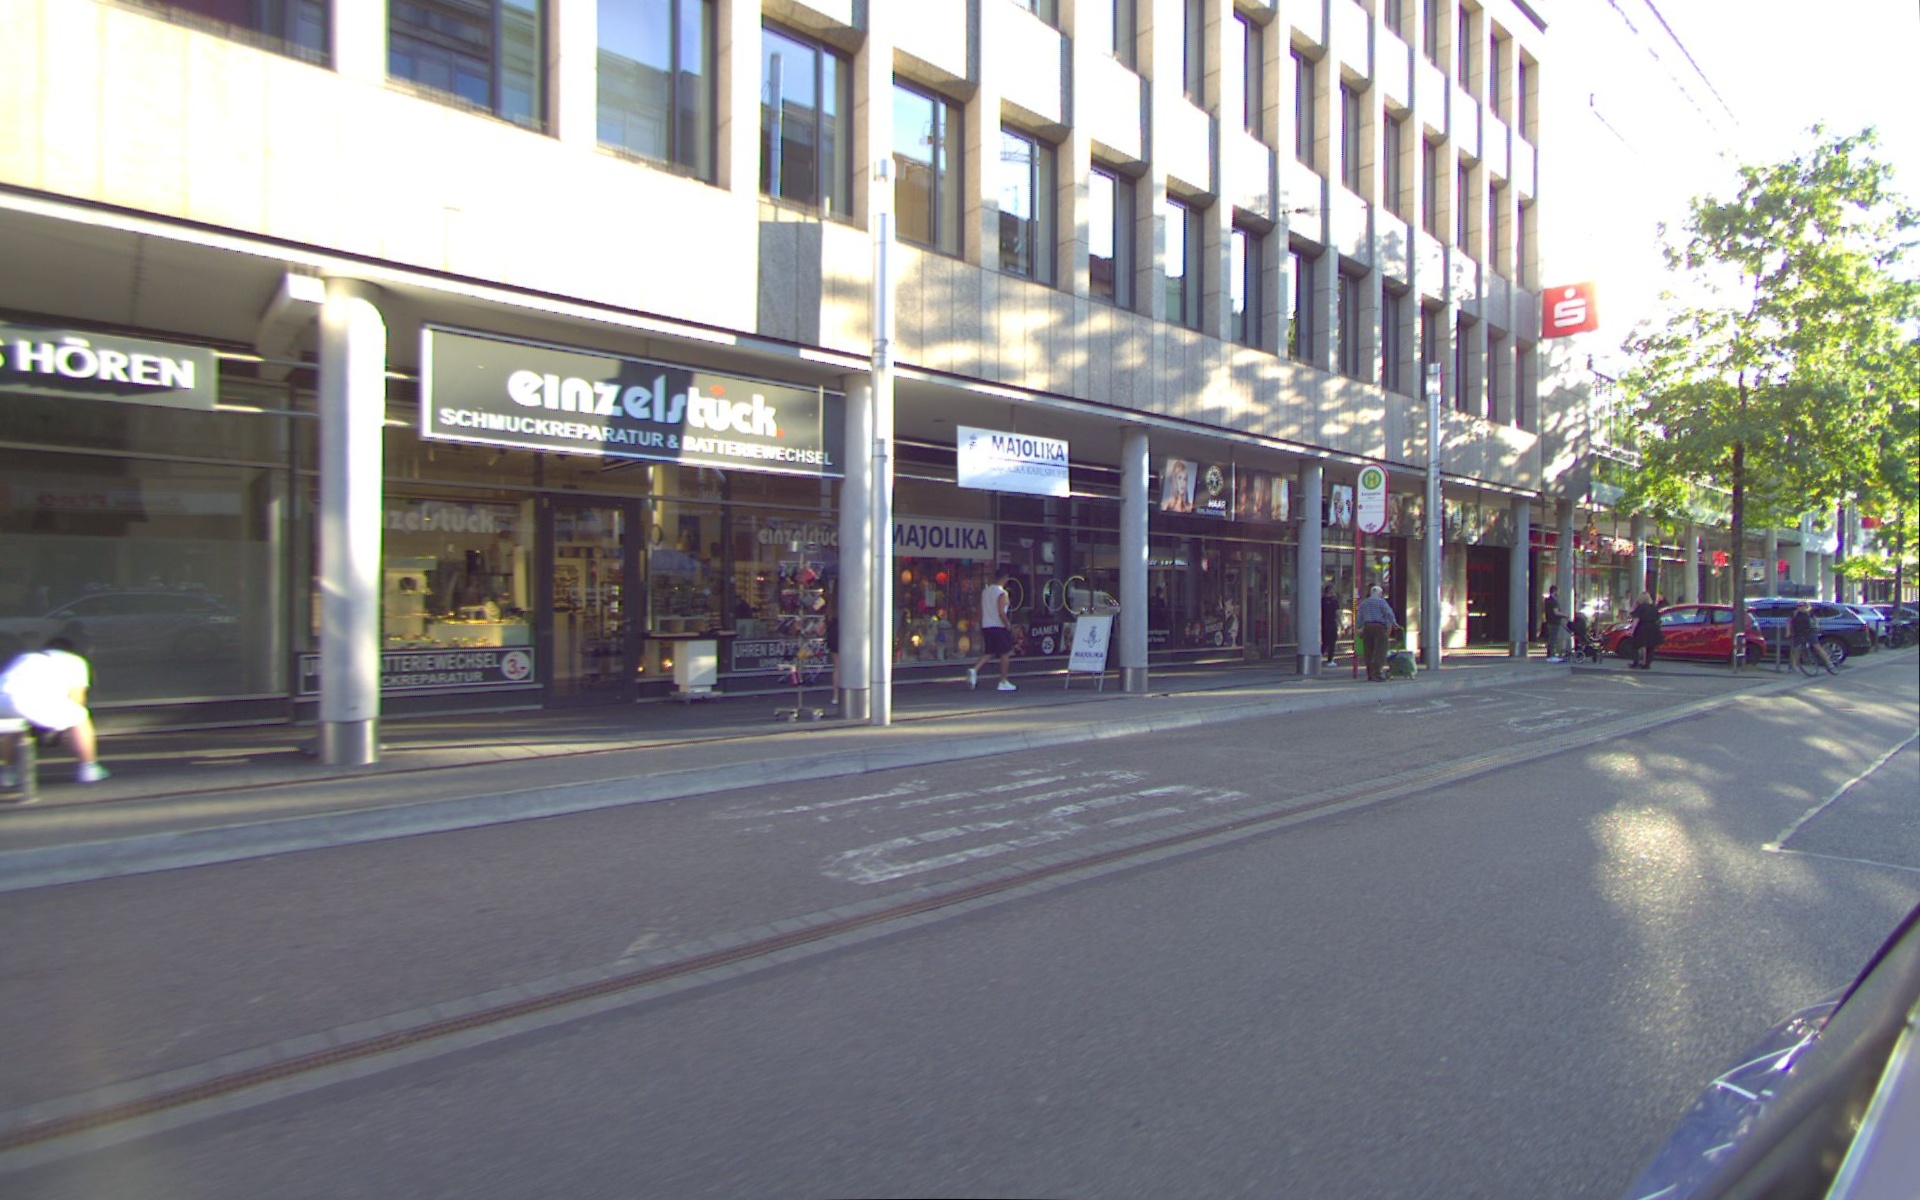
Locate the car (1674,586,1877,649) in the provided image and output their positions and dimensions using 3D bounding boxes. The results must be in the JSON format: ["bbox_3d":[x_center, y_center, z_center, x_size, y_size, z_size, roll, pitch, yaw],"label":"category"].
[{"bbox_3d":[23.979,0.474,29.962,4.194,1.607,1.873,2,2,19],"label":"car"}]

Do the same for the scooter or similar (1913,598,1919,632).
[{"bbox_3d":[38.195,0.591,40.084,1.284,1.291,0.451,0,4,-42],"label":"scooter or similar"}]

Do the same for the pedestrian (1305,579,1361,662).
[{"bbox_3d":[7.453,0.393,20.235,0.909,1.609,0.697,0,0,-40],"label":"pedestrian"}]

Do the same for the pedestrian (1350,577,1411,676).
[{"bbox_3d":[6.920,0.434,16.664,0.621,1.593,0.682,0,-2,-40],"label":"pedestrian"}]

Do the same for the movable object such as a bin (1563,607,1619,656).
[{"bbox_3d":[14.589,0.722,23.417,0.818,1.077,0.689,2,2,1],"label":"movable object such as a bin"}]

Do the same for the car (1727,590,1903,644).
[{"bbox_3d":[29.114,0.531,34.600,4.103,1.590,1.845,2,2,17],"label":"car"}]

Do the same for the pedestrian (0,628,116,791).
[{"bbox_3d":[-6.421,0.737,7.116,0.683,1.044,0.838,0,0,-36],"label":"pedestrian"}]

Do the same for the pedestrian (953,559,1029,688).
[{"bbox_3d":[0.449,0.336,14.800,0.842,1.815,0.745,0,-1,-40],"label":"pedestrian"}]

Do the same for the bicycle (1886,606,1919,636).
[{"bbox_3d":[37.031,0.831,39.139,1.544,1.102,0.864,3,1,19],"label":"bicycle"}]

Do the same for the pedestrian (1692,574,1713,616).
[{"bbox_3d":[32.192,-0.226,43.863,0.515,1.772,0.558,0,2,-41],"label":"pedestrian"}]

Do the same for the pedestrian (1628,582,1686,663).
[{"bbox_3d":[15.109,0.481,21.941,0.682,1.706,0.682,2,1,-7],"label":"pedestrian"}]

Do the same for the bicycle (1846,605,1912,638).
[{"bbox_3d":[34.980,0.806,38.528,1.676,1.119,0.627,3,3,24],"label":"bicycle"}]

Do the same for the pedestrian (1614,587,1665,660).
[{"bbox_3d":[15.292,0.520,22.781,0.677,1.571,0.607,2,1,3],"label":"pedestrian"}]

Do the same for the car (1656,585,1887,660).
[{"bbox_3d":[21.050,0.531,26.458,4.300,1.672,1.685,2,2,19],"label":"car"}]

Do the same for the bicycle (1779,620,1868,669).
[{"bbox_3d":[18.959,0.957,22.213,2.016,1.008,0.721,0,-2,-27],"label":"bicycle"}]

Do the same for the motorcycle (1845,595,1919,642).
[{"bbox_3d":[32.658,0.636,35.493,2.279,1.528,0.858,2,2,6],"label":"motorcycle"}]

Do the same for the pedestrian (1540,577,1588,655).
[{"bbox_3d":[13.973,0.361,23.425,0.621,1.753,0.689,2,1,1],"label":"pedestrian"}]

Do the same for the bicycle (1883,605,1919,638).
[{"bbox_3d":[35.448,0.813,37.664,1.662,1.177,0.481,2,2,-1],"label":"bicycle"}]

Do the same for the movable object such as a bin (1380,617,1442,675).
[{"bbox_3d":[7.514,0.750,16.857,0.705,0.936,0.691,0,-2,-40],"label":"movable object such as a bin"}]

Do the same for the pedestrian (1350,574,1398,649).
[{"bbox_3d":[10.237,0.269,25.000,0.768,1.807,0.846,0,0,-40],"label":"pedestrian"}]

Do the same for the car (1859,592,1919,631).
[{"bbox_3d":[47.723,0.636,49.841,4.610,1.785,1.982,3,2,21],"label":"car"}]

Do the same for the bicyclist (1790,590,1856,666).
[{"bbox_3d":[19.009,0.619,22.300,0.894,1.634,0.781,0,-2,-27],"label":"bicyclist"}]

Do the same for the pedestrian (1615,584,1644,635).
[{"bbox_3d":[23.617,0.330,35.696,0.588,1.765,0.626,1,1,-35],"label":"pedestrian"}]

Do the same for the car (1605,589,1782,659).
[{"bbox_3d":[18.223,0.540,25.336,3.370,1.499,1.650,3,2,30],"label":"car"}]

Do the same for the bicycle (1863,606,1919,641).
[{"bbox_3d":[33.859,0.849,36.393,1.874,1.133,0.663,2,2,21],"label":"bicycle"}]

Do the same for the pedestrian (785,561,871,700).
[{"bbox_3d":[-1.703,0.374,13.038,0.842,1.722,0.745,0,-1,-40],"label":"pedestrian"}]

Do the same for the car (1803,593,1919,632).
[{"bbox_3d":[40.141,0.562,43.940,4.987,1.487,1.970,3,2,14],"label":"car"}]

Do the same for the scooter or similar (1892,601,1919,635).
[{"bbox_3d":[38.729,0.746,40.940,1.290,1.291,0.561,4,3,18],"label":"scooter or similar"}]

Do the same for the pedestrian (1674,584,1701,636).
[{"bbox_3d":[25.123,0.326,34.945,0.589,1.765,0.625,0,1,-43],"label":"pedestrian"}]
